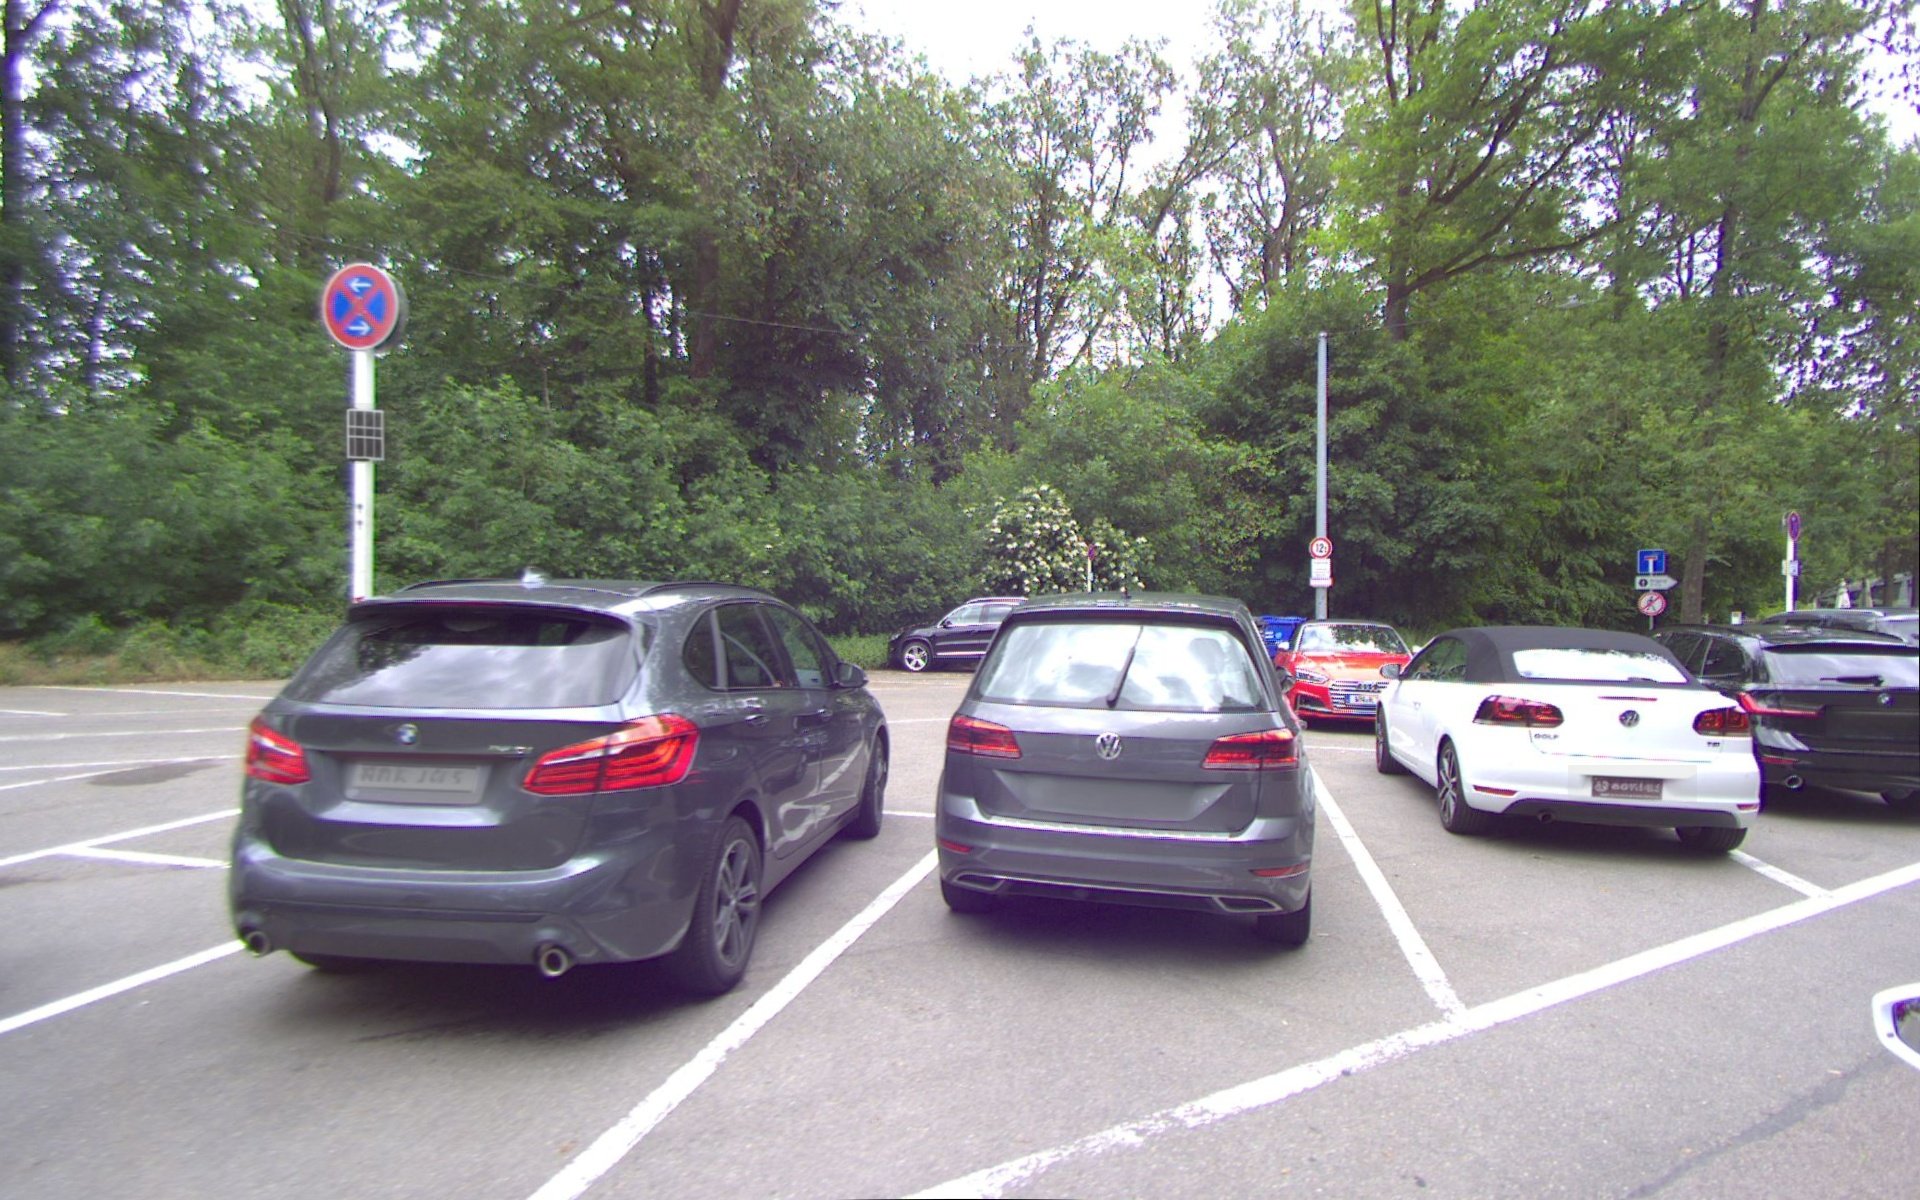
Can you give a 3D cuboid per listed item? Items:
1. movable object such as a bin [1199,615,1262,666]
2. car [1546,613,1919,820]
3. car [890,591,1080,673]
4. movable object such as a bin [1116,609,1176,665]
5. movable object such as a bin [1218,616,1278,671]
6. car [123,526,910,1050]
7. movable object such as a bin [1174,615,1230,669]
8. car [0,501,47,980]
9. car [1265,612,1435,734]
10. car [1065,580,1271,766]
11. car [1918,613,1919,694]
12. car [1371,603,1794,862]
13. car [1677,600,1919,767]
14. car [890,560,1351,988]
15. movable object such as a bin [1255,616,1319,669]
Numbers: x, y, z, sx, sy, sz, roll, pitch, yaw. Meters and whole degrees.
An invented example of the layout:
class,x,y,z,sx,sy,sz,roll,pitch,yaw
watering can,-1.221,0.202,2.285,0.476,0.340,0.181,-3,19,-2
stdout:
class,x,y,z,sx,sy,sz,roll,pitch,yaw
movable object such as a bin,7.388,1.085,27.452,1.228,1.337,1.116,1,-1,-35
car,7.146,0.865,9.308,1.724,1.462,4.281,1,0,13
car,0.603,0.691,22.967,3.990,1.707,1.785,1,0,16
movable object such as a bin,4.956,0.980,26.828,1.116,1.444,1.119,1,-1,-27
movable object such as a bin,7.210,1.068,25.139,1.152,1.324,1.311,1,-1,30
car,-1.535,0.580,5.131,1.835,1.575,4.002,1,-1,8
movable object such as a bin,6.227,1.068,25.792,1.107,1.332,1.182,1,-1,30
car,-4.525,0.442,1.652,1.809,1.618,4.193,1,-1,12
car,5.335,0.907,14.246,1.733,1.412,4.394,1,-1,15
car,2.357,0.691,11.373,1.860,1.685,4.002,1,0,12
car,21.201,1.095,20.102,3.952,1.606,1.884,1,0,-30
car,4.432,0.787,7.858,1.737,1.462,3.848,1,0,15
car,10.511,0.856,11.845,1.792,1.630,4.390,1,0,13
car,1.070,0.668,5.934,1.810,1.608,3.979,0,0,14
movable object such as a bin,8.792,1.127,27.033,1.138,1.342,1.241,1,-1,-43
